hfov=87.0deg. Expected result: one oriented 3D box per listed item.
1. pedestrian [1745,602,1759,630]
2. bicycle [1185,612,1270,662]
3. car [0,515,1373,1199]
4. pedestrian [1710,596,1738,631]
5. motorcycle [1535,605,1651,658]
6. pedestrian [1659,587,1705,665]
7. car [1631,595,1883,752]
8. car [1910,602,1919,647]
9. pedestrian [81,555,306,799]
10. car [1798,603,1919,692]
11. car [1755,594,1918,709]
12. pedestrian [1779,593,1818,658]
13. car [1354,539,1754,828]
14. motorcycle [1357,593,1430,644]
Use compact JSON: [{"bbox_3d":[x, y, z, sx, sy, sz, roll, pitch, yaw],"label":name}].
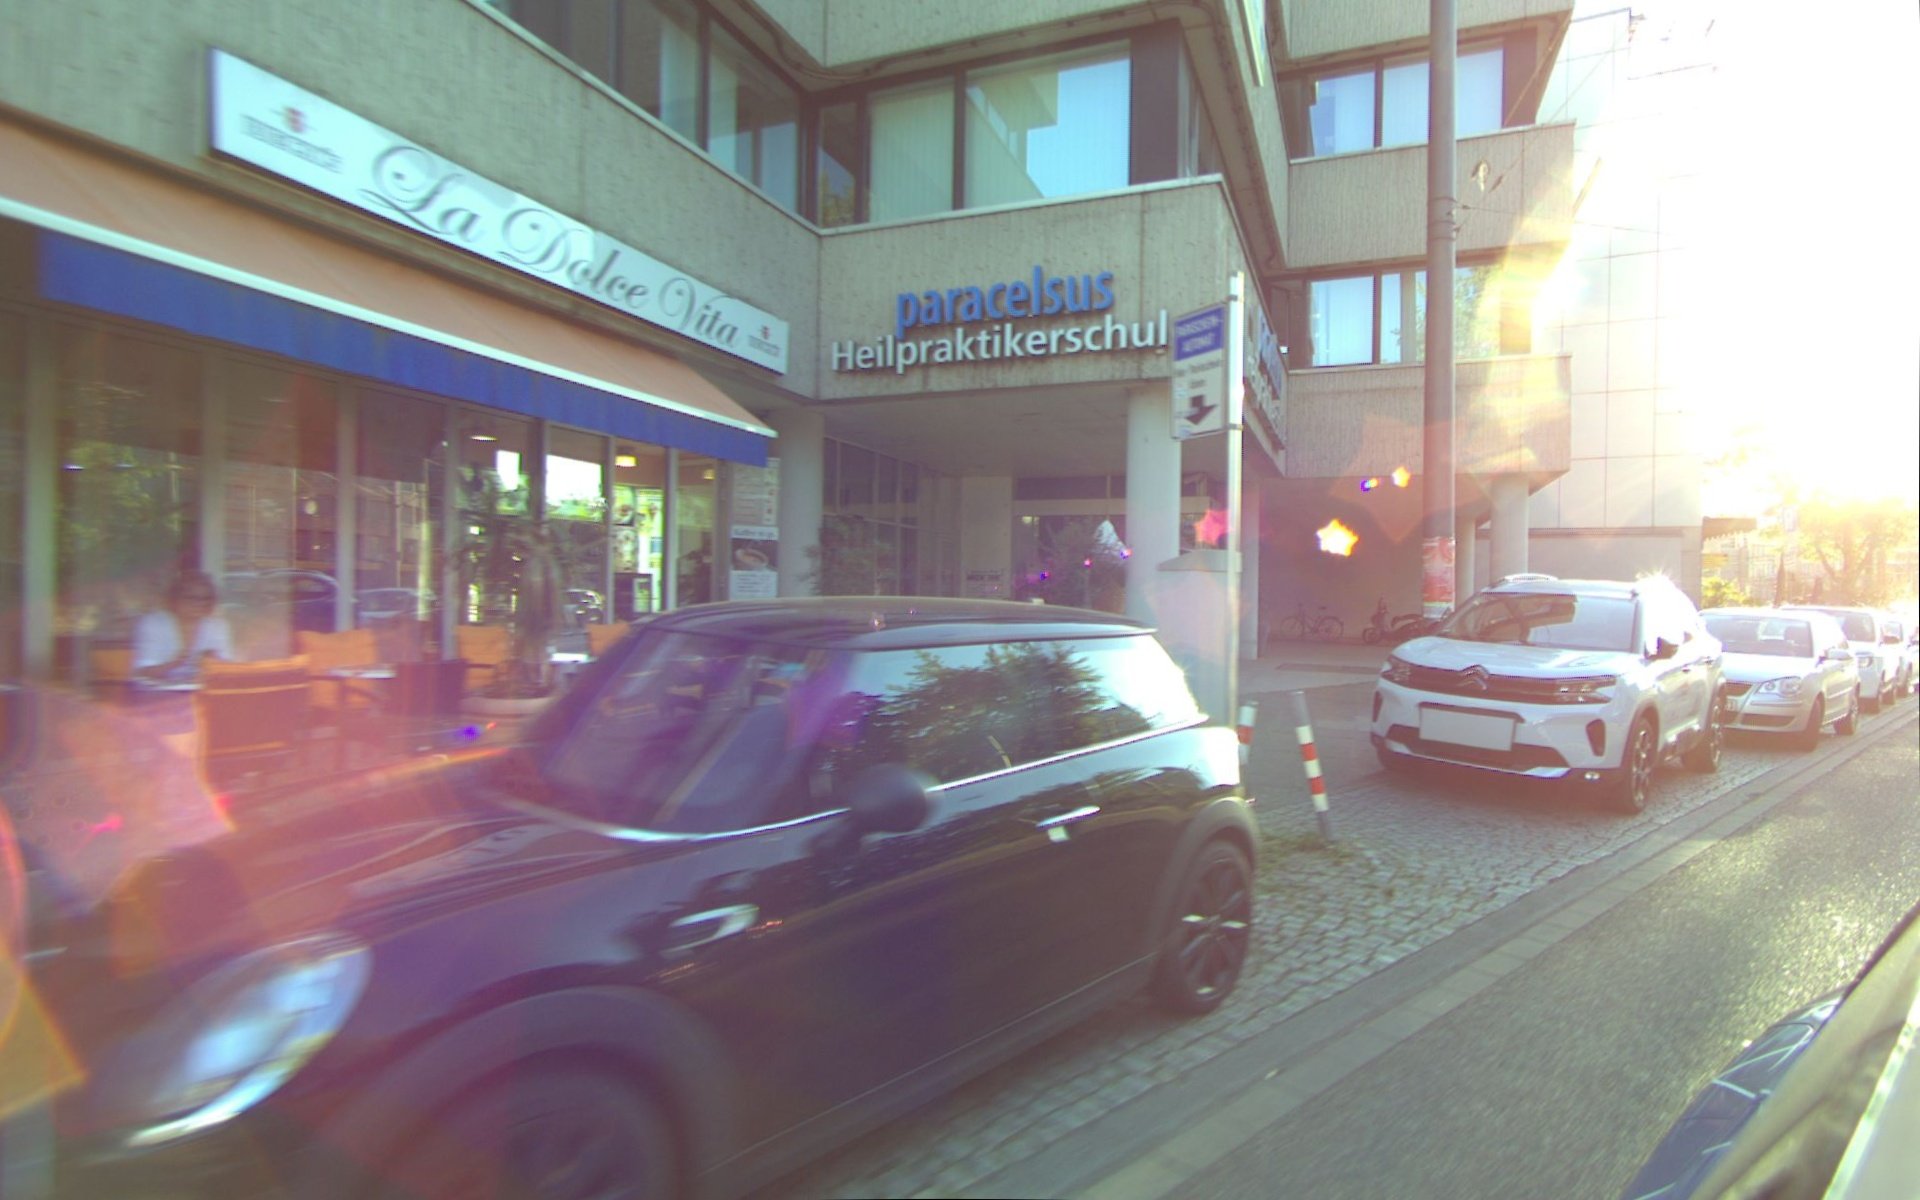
[{"bbox_3d":[49.477,0.986,63.236,0.513,1.715,0.765,-1,-1,29],"label":"pedestrian"},{"bbox_3d":[4.687,0.634,17.787,1.390,0.839,0.431,0,-1,40],"label":"bicycle"},{"bbox_3d":[-0.503,0.665,3.173,3.852,1.527,1.793,0,-1,-41],"label":"car"},{"bbox_3d":[39.169,0.701,51.880,0.882,1.748,0.769,2,0,18],"label":"pedestrian"},{"bbox_3d":[14.981,0.717,23.997,2.272,1.205,0.695,-1,-1,40],"label":"motorcycle"},{"bbox_3d":[15.540,0.554,21.799,0.634,1.648,0.849,0,-1,25],"label":"pedestrian"},{"bbox_3d":[9.447,0.736,11.888,3.930,1.548,1.643,0,-1,-41],"label":"car"},{"bbox_3d":[35.345,0.868,36.254,3.998,1.554,1.652,1,-1,-43],"label":"car"},{"bbox_3d":[-4.418,0.407,5.873,0.752,1.313,0.707,0,1,14],"label":"pedestrian"},{"bbox_3d":[17.595,0.827,19.335,3.929,1.474,1.788,0,1,-40],"label":"car"},{"bbox_3d":[13.930,0.739,16.024,3.606,1.611,1.586,1,-1,-43],"label":"car"},{"bbox_3d":[23.623,0.701,28.517,0.634,1.809,0.849,0,-1,25],"label":"pedestrian"},{"bbox_3d":[5.186,0.543,8.557,4.327,1.827,1.785,1,-1,-43],"label":"car"},{"bbox_3d":[11.780,0.493,27.559,0.655,1.309,1.800,1,1,-26],"label":"motorcycle"}]
